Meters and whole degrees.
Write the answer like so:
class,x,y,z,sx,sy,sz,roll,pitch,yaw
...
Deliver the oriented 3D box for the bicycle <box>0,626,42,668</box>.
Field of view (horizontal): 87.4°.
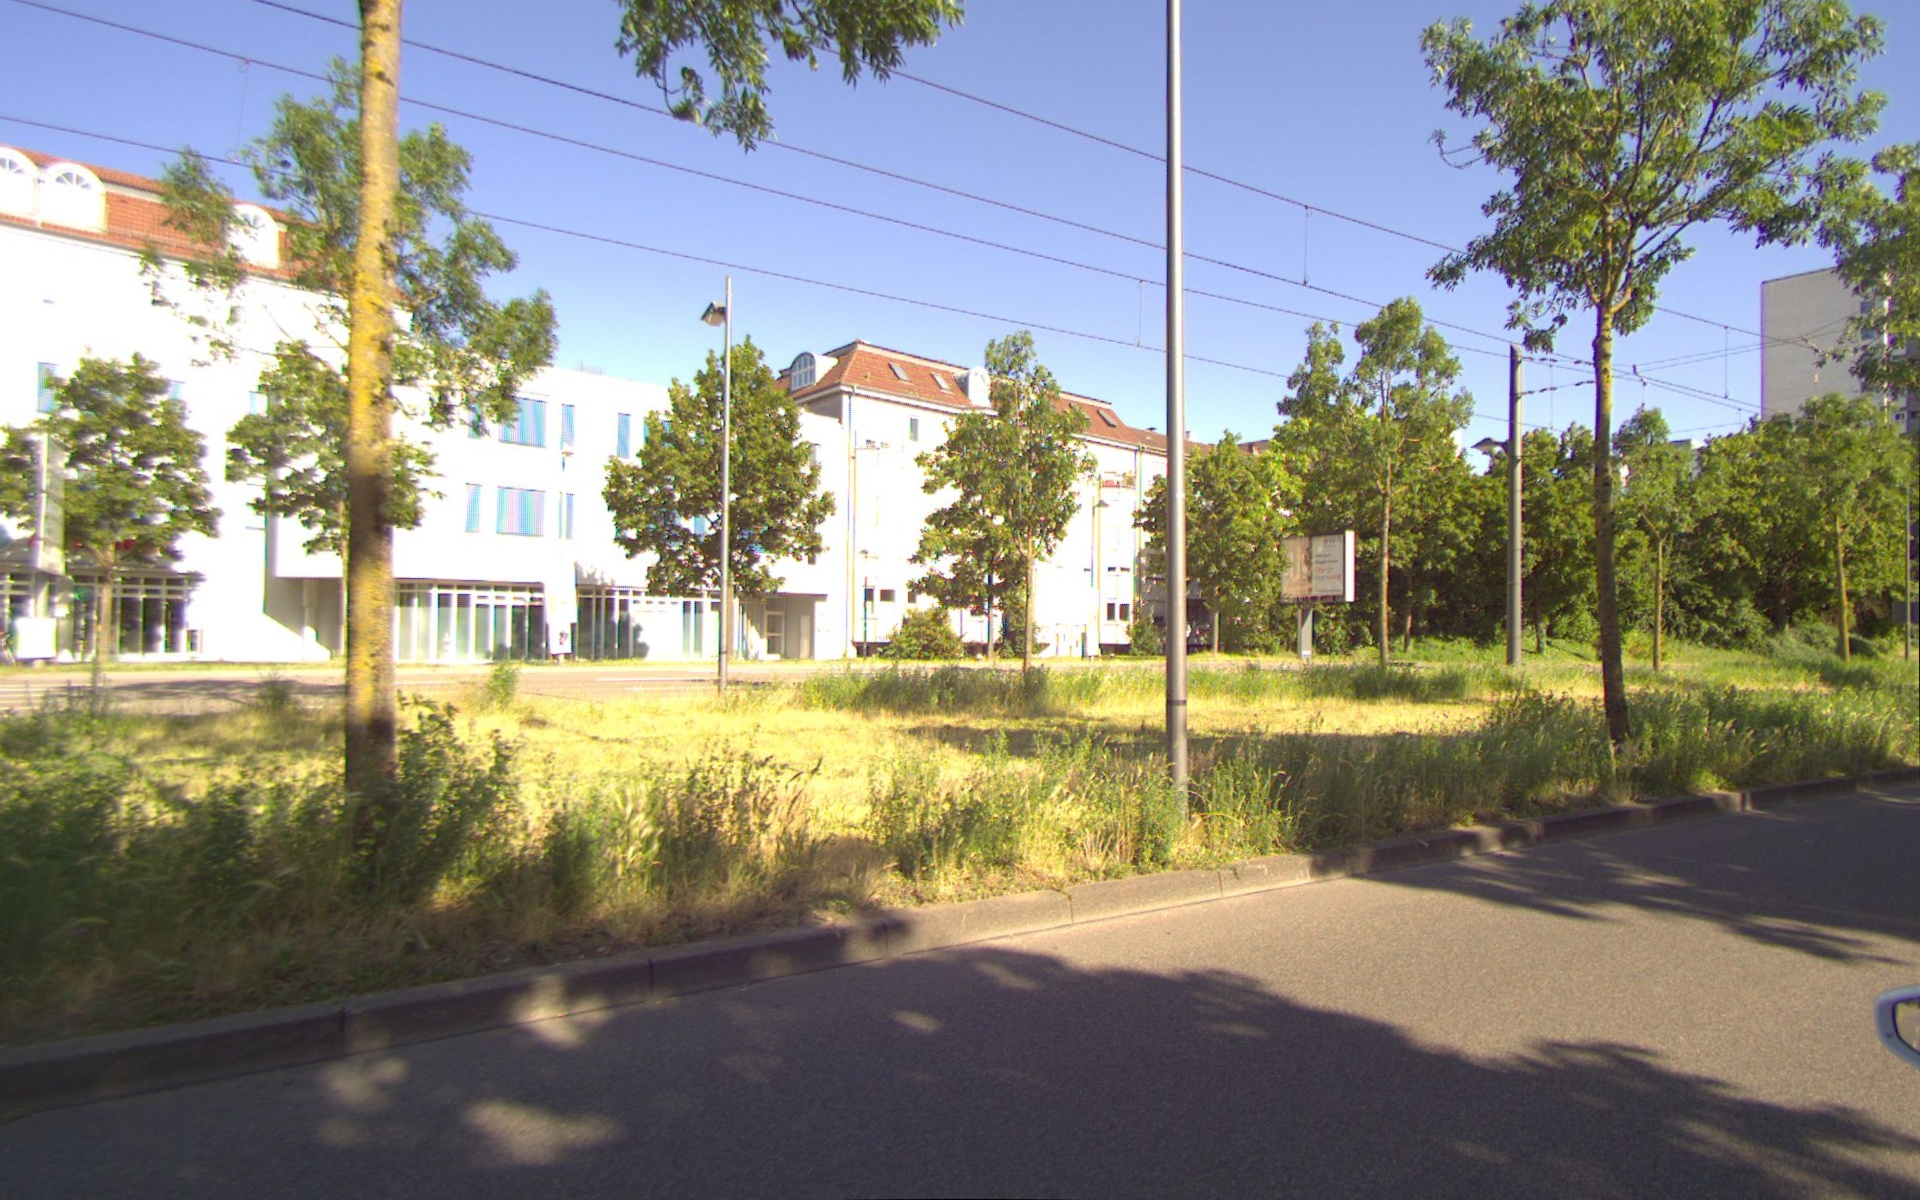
class,x,y,z,sx,sy,sz,roll,pitch,yaw
bicycle,-28.581,1.398,30.421,0.712,1.229,2.529,1,-2,-33
